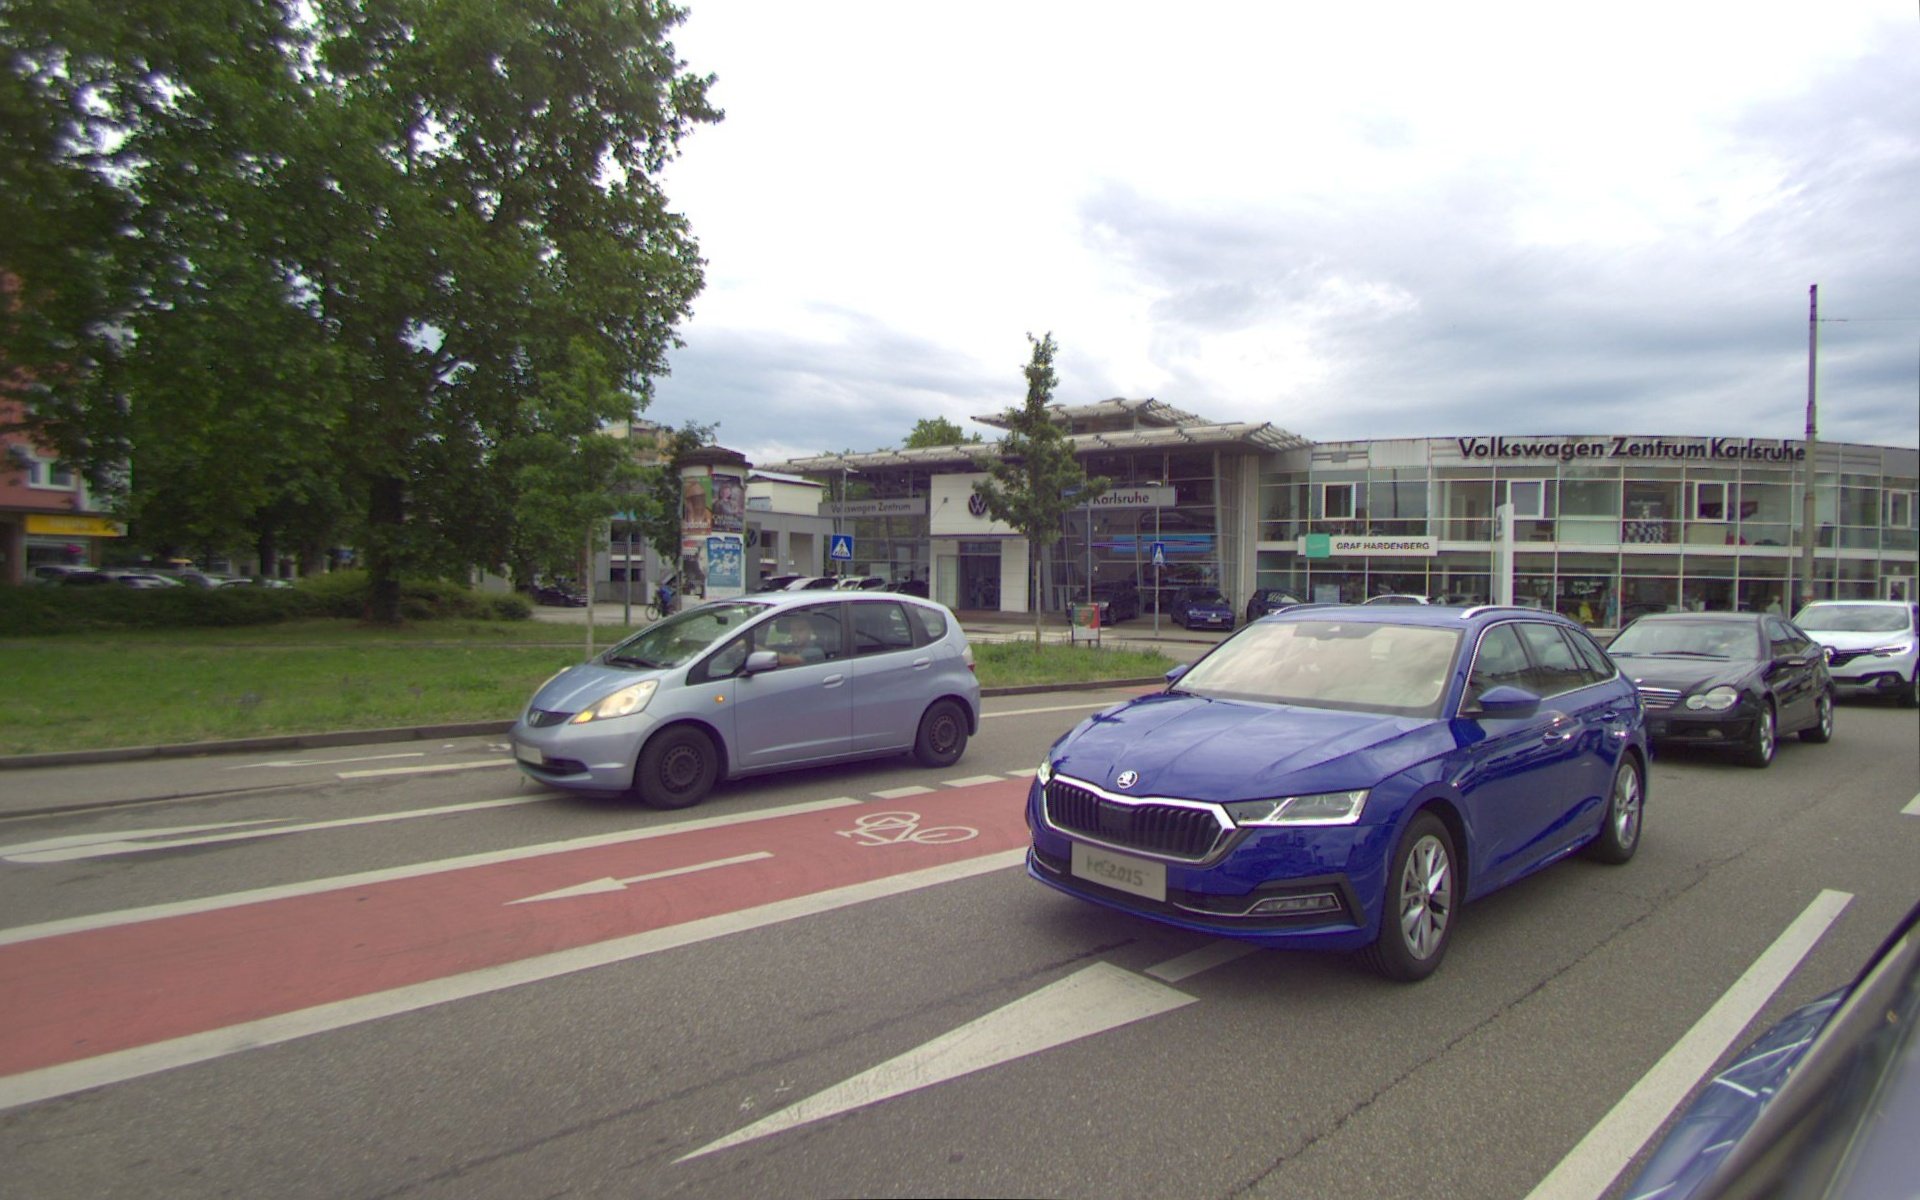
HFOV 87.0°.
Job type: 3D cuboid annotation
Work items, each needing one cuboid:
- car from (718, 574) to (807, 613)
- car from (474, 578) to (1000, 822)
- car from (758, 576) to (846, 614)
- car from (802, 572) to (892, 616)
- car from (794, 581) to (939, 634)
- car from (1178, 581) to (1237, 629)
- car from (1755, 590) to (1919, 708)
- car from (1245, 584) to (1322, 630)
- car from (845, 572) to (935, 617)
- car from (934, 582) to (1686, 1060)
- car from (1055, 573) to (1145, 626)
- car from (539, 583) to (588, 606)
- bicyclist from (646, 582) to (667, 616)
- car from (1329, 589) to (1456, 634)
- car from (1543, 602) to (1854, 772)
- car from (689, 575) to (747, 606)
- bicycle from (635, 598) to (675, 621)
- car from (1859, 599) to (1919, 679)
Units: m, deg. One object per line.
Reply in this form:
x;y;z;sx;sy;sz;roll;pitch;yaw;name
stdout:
-10.036;-0.383;51.681;1.946;1.529;4.180;2;7;36;car
-1.619;0.606;8.196;3.868;1.502;1.706;0;0;-44;car
-7.787;-0.287;50.290;1.946;1.483;4.179;2;6;36;car
-5.394;-0.333;48.731;1.946;1.615;4.181;2;7;36;car
-3.184;0.207;34.011;4.854;1.562;1.866;2;1;37;car
9.156;0.146;37.665;1.927;1.544;4.217;1;2;11;car
14.238;0.665;15.811;4.070;1.578;1.982;0;1;-39;car
11.750;0.209;37.023;1.759;1.580;4.030;1;1;4;car
-3.194;-0.300;46.965;1.946;1.472;4.182;2;9;36;car
2.192;0.658;5.330;4.676;1.454;1.767;0;0;-43;car
5.652;-0.073;40.254;1.941;1.662;4.629;1;5;30;car
-24.941;-0.376;63.650;1.928;1.358;3.677;-1;2;-38;car
-13.419;-0.052;44.680;0.686;1.515;0.551;1;1;20;bicyclist
15.507;0.362;36.334;3.888;1.459;1.709;2;1;39;car
7.874;0.735;10.621;4.346;1.388;1.768;0;0;-42;car
-13.286;-0.548;55.464;3.105;1.530;1.423;2;5;37;car
-13.466;0.416;44.697;1.769;0.923;0.558;1;1;23;bicycle
19.434;0.741;19.968;3.900;1.454;1.908;0;1;-39;car
